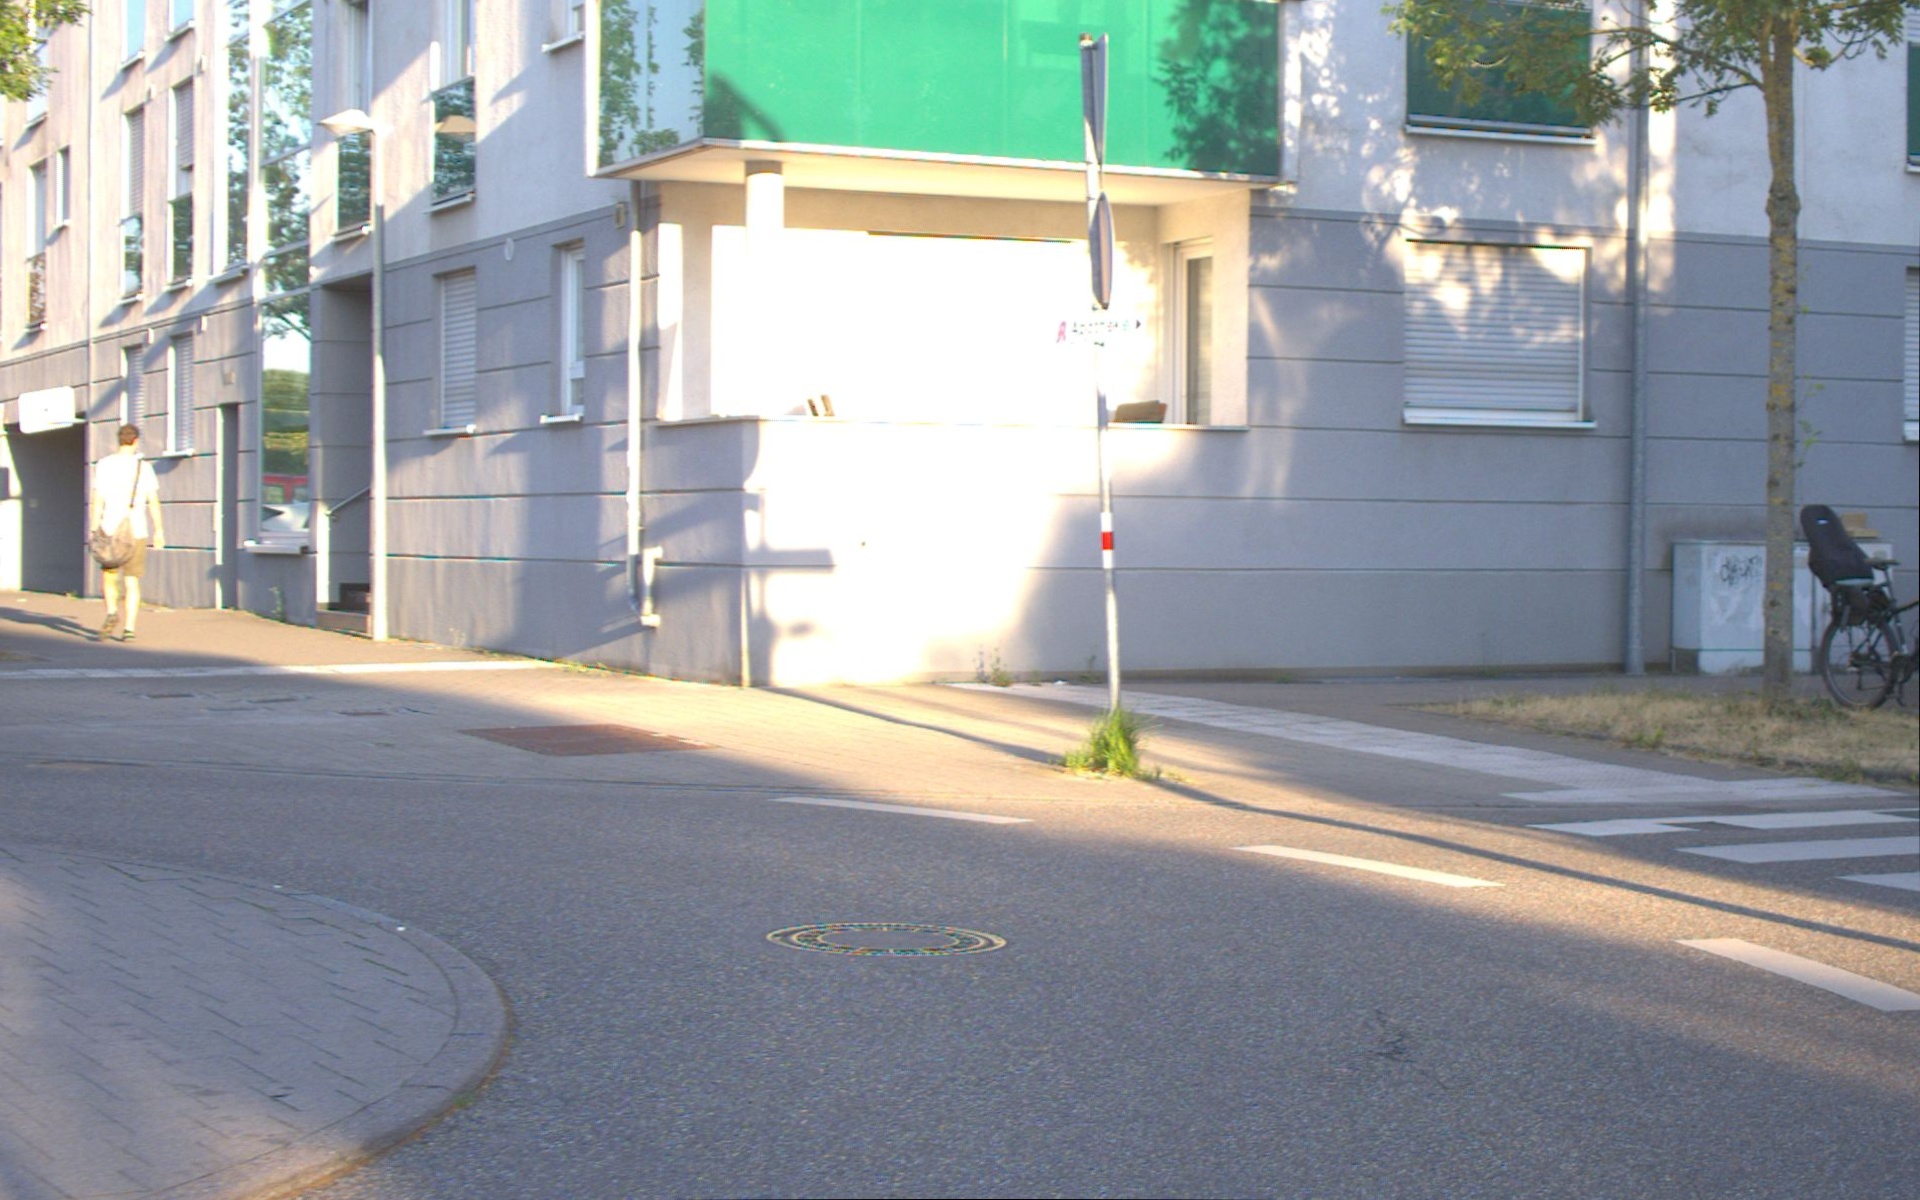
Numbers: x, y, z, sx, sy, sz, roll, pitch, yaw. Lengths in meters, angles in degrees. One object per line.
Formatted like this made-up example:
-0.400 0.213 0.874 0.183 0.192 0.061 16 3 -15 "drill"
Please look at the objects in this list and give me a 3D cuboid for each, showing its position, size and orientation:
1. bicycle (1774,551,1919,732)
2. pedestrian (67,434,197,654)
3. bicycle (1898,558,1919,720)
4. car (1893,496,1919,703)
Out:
5.922 0.264 21.296 0.565 1.038 1.794 1 3 -31 "bicycle"
-7.271 -0.486 30.158 0.976 1.888 1.050 1 0 -20 "pedestrian"
6.891 0.313 21.748 0.472 1.042 2.036 1 3 -31 "bicycle"
8.590 0.148 22.691 1.931 1.452 4.893 0 3 -25 "car"
